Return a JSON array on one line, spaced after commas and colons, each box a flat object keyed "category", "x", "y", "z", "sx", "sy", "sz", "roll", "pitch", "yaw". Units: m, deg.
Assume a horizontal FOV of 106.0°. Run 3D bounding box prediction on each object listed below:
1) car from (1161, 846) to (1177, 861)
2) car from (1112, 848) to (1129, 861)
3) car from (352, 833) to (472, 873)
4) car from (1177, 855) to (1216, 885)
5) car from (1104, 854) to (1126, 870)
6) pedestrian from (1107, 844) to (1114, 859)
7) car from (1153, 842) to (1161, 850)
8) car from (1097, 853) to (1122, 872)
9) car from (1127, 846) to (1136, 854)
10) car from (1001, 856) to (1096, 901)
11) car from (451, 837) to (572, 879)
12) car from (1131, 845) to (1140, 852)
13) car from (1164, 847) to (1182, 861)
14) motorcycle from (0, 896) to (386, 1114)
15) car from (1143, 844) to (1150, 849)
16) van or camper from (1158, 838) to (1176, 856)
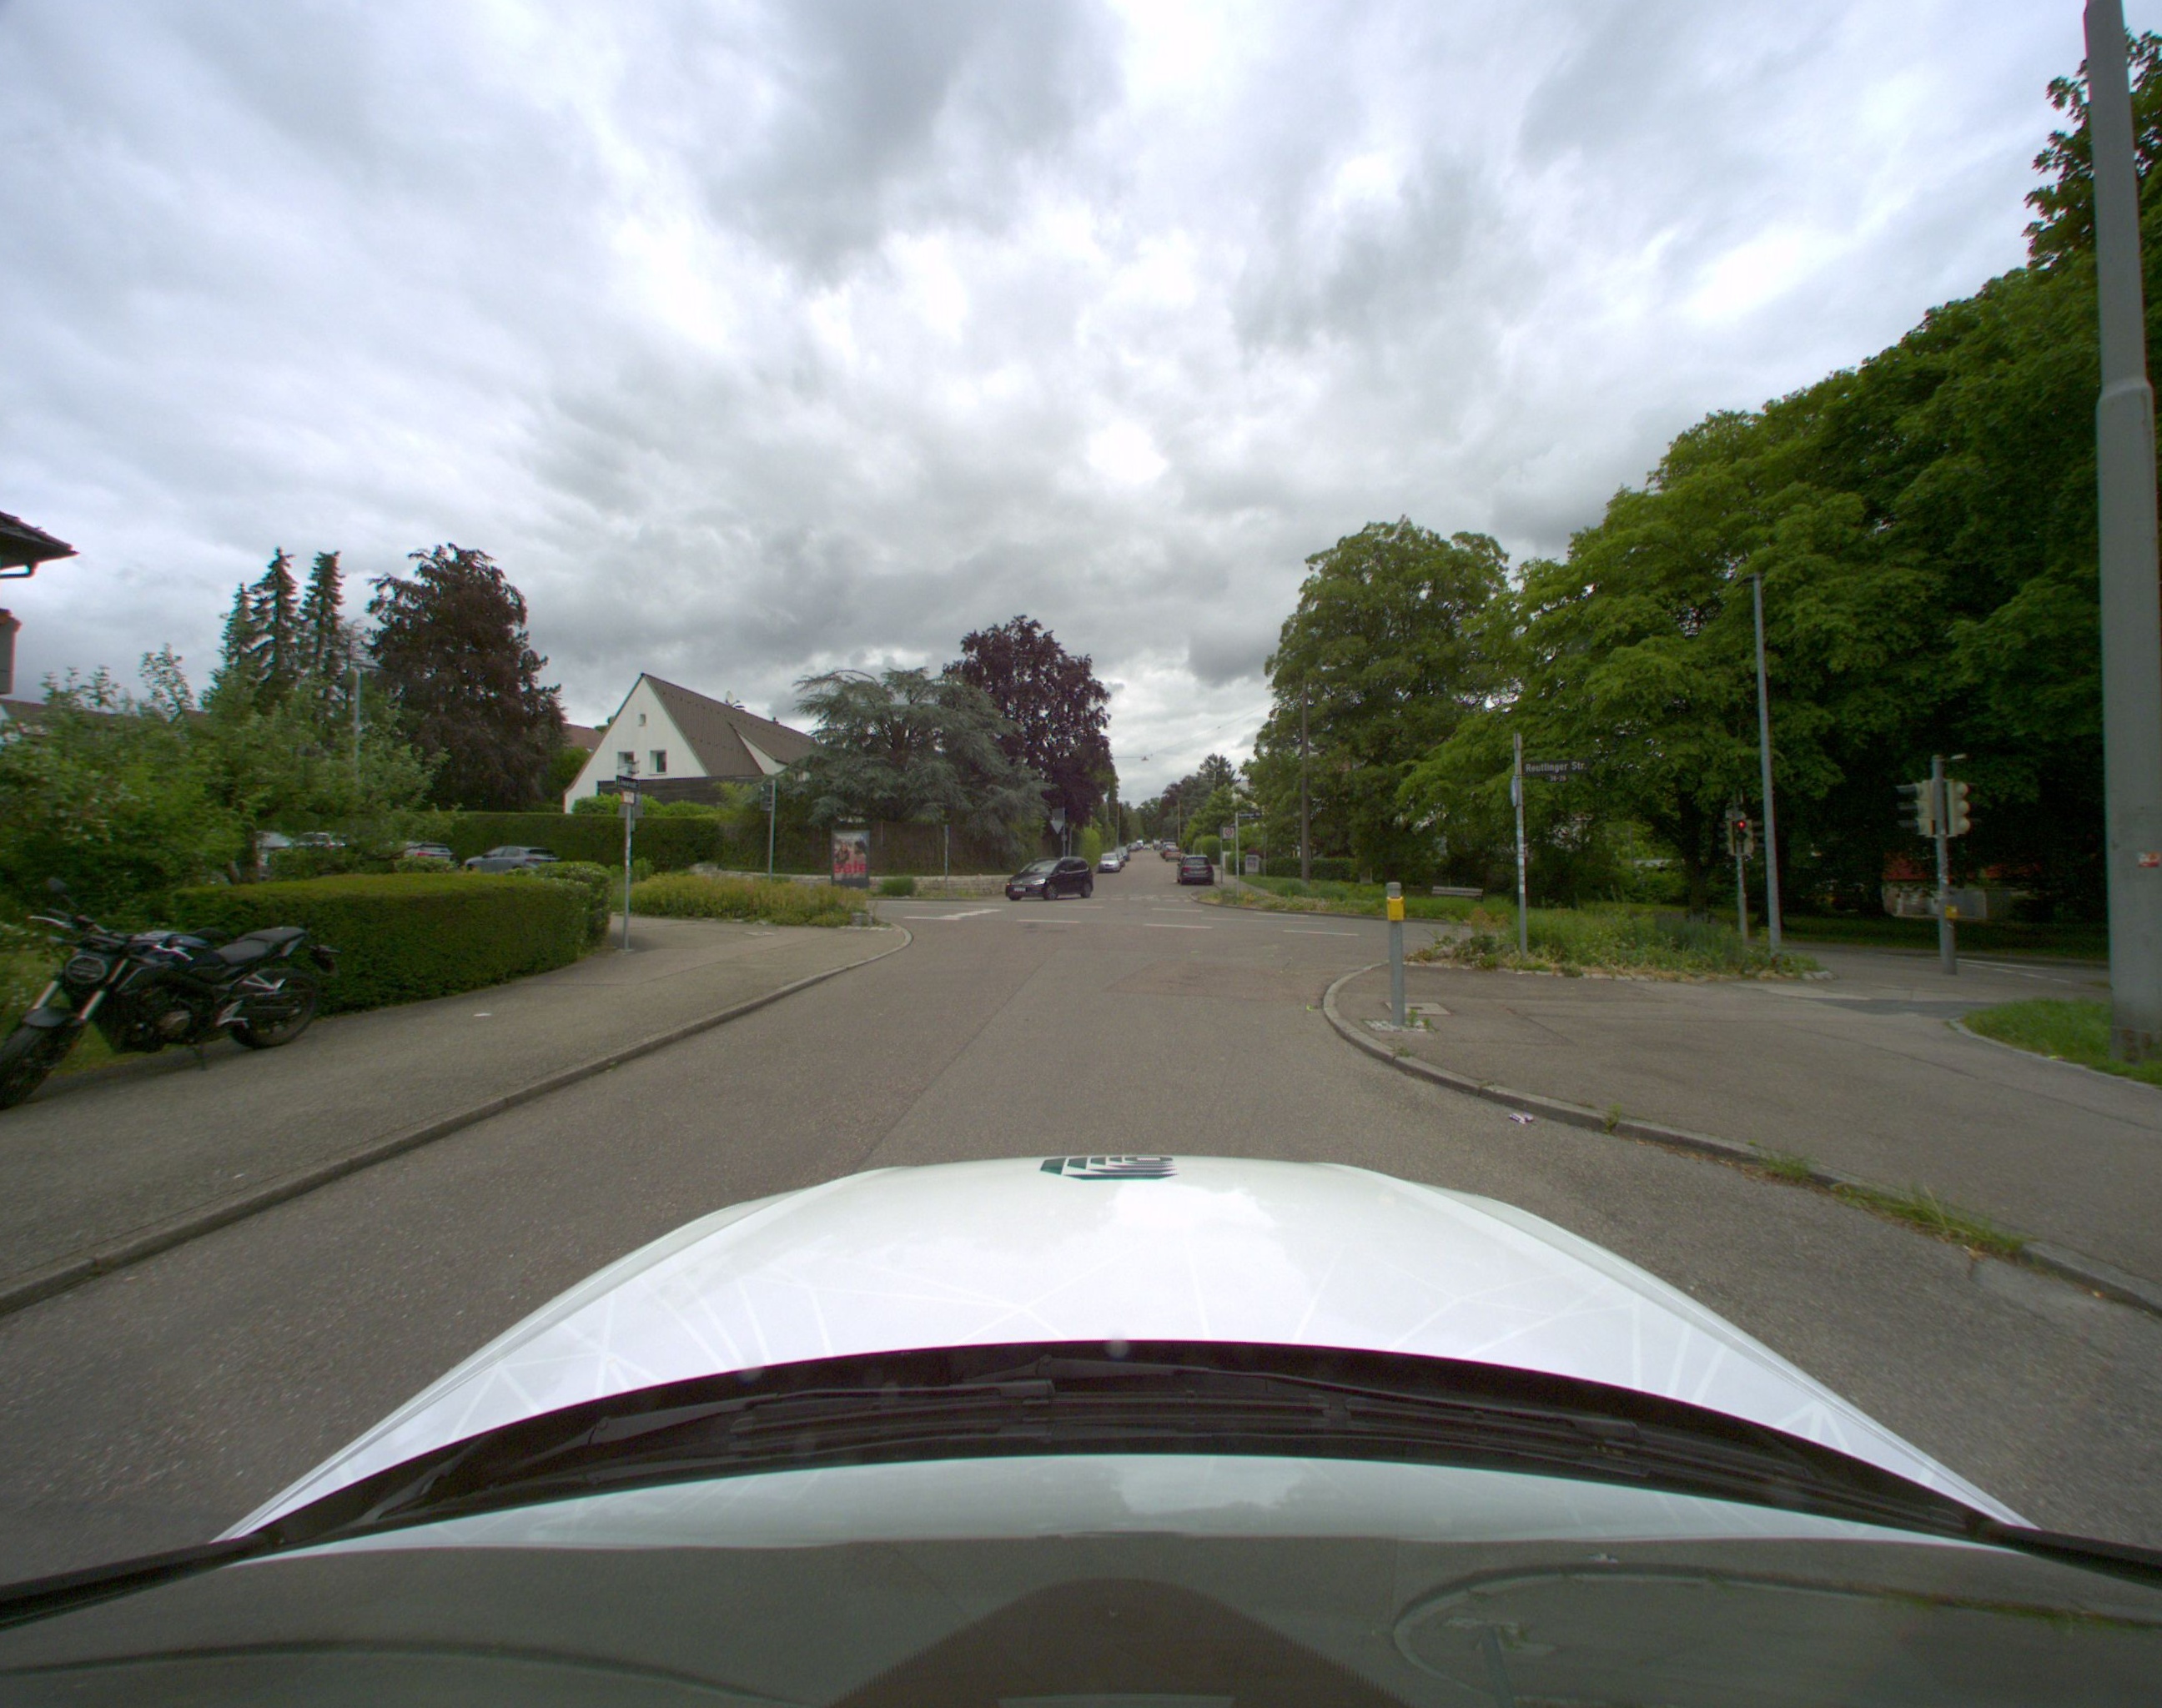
[{"category": "car", "x": 10.476, "y": -0.041, "z": 96.901, "sx": 1.740, "sy": 1.640, "sz": 3.731, "roll": -1, "pitch": 0, "yaw": 3}, {"category": "car", "x": 4.518, "y": 0.050, "z": 92.704, "sx": 1.938, "sy": 1.442, "sz": 4.003, "roll": 0, "pitch": 0, "yaw": 3}, {"category": "car", "x": -28.243, "y": -0.024, "z": 34.393, "sx": 4.125, "sy": 1.464, "sz": 1.869, "roll": 2, "pitch": -3, "yaw": 18}, {"category": "car", "x": 6.187, "y": 0.829, "z": 44.013, "sx": 1.809, "sy": 1.536, "sz": 4.005, "roll": -1, "pitch": 0, "yaw": 4}, {"category": "car", "x": 3.155, "y": 0.712, "z": 74.546, "sx": 1.938, "sy": 1.442, "sz": 4.003, "roll": 0, "pitch": 0, "yaw": 3}, {"category": "pedestrian", "x": 3.970, "y": -0.303, "z": 108.966, "sx": 0.850, "sy": 2.013, "sz": 0.872, "roll": 2, "pitch": 0, "yaw": -1}, {"category": "car", "x": 17.245, "y": -1.824, "z": 185.062, "sx": 1.807, "sy": 1.574, "sz": 4.005, "roll": -1, "pitch": 0, "yaw": 4}, {"category": "car", "x": 2.273, "y": 0.671, "z": 64.226, "sx": 1.938, "sy": 1.442, "sz": 4.003, "roll": 0, "pitch": 0, "yaw": 3}, {"category": "car", "x": 9.449, "y": -0.786, "z": 152.453, "sx": 1.707, "sy": 1.463, "sz": 3.661, "roll": 1, "pitch": 0, "yaw": 5}, {"category": "car", "x": -1.180, "y": 0.891, "z": 31.725, "sx": 1.831, "sy": 1.611, "sz": 4.336, "roll": -1, "pitch": 0, "yaw": 26}, {"category": "car", "x": -22.781, "y": 0.167, "z": 32.604, "sx": 3.955, "sy": 1.464, "sz": 1.869, "roll": 2, "pitch": -3, "yaw": 18}, {"category": "car", "x": 10.756, "y": -1.095, "z": 161.728, "sx": 1.707, "sy": 1.463, "sz": 3.661, "roll": 1, "pitch": 0, "yaw": 5}, {"category": "car", "x": 9.846, "y": -0.043, "z": 87.164, "sx": 1.603, "sy": 1.413, "sz": 3.475, "roll": 1, "pitch": 0, "yaw": 2}, {"category": "motorcycle", "x": -6.241, "y": 0.936, "z": 5.794, "sx": 0.770, "sy": 1.139, "sz": 2.145, "roll": -1, "pitch": 0, "yaw": -2}, {"category": "car", "x": 16.323, "y": -1.897, "z": 202.956, "sx": 1.648, "sy": 1.335, "sz": 3.786, "roll": -1, "pitch": 0, "yaw": 5}, {"category": "van or camper", "x": 11.484, "y": -0.907, "z": 108.904, "sx": 2.104, "sy": 2.405, "sz": 5.249, "roll": -1, "pitch": 0, "yaw": 2}]
